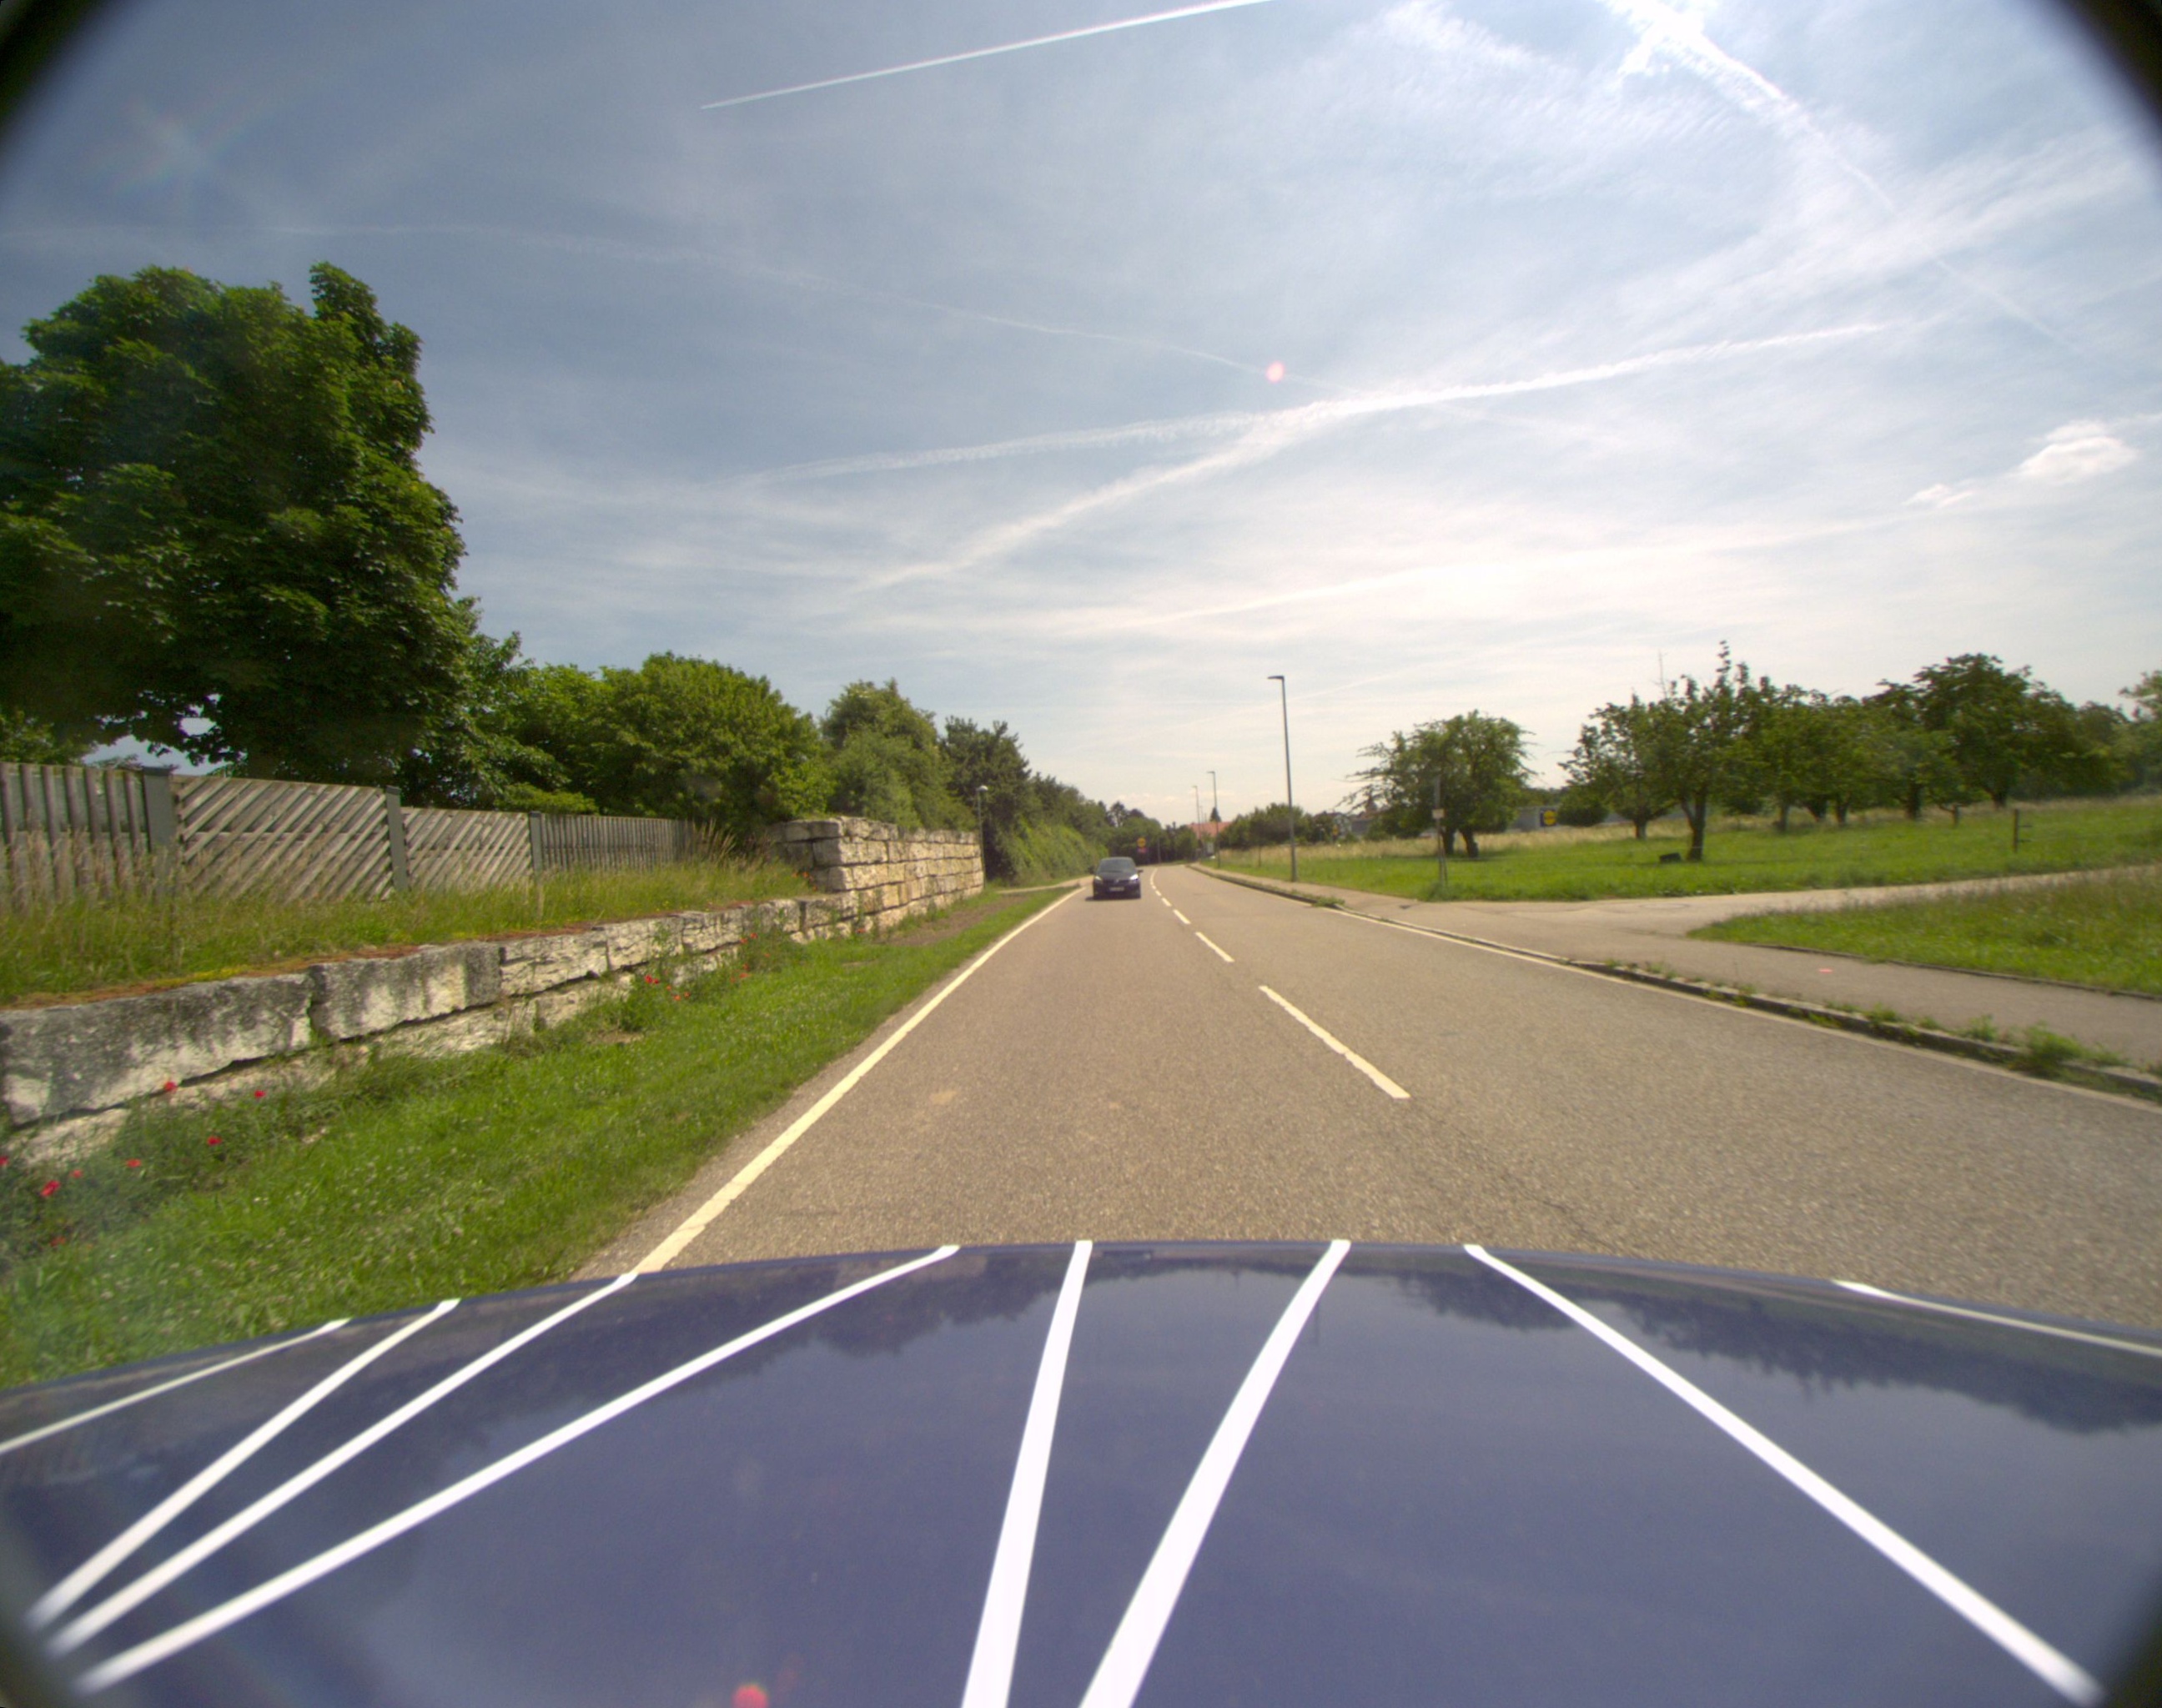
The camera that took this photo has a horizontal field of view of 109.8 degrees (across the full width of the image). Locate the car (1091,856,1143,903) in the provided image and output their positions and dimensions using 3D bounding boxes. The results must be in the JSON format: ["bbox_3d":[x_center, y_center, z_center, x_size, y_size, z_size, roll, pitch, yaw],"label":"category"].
[{"bbox_3d":[1.316,0.864,27.768,1.677,1.456,4.433,-2,0,3],"label":"car"}]
